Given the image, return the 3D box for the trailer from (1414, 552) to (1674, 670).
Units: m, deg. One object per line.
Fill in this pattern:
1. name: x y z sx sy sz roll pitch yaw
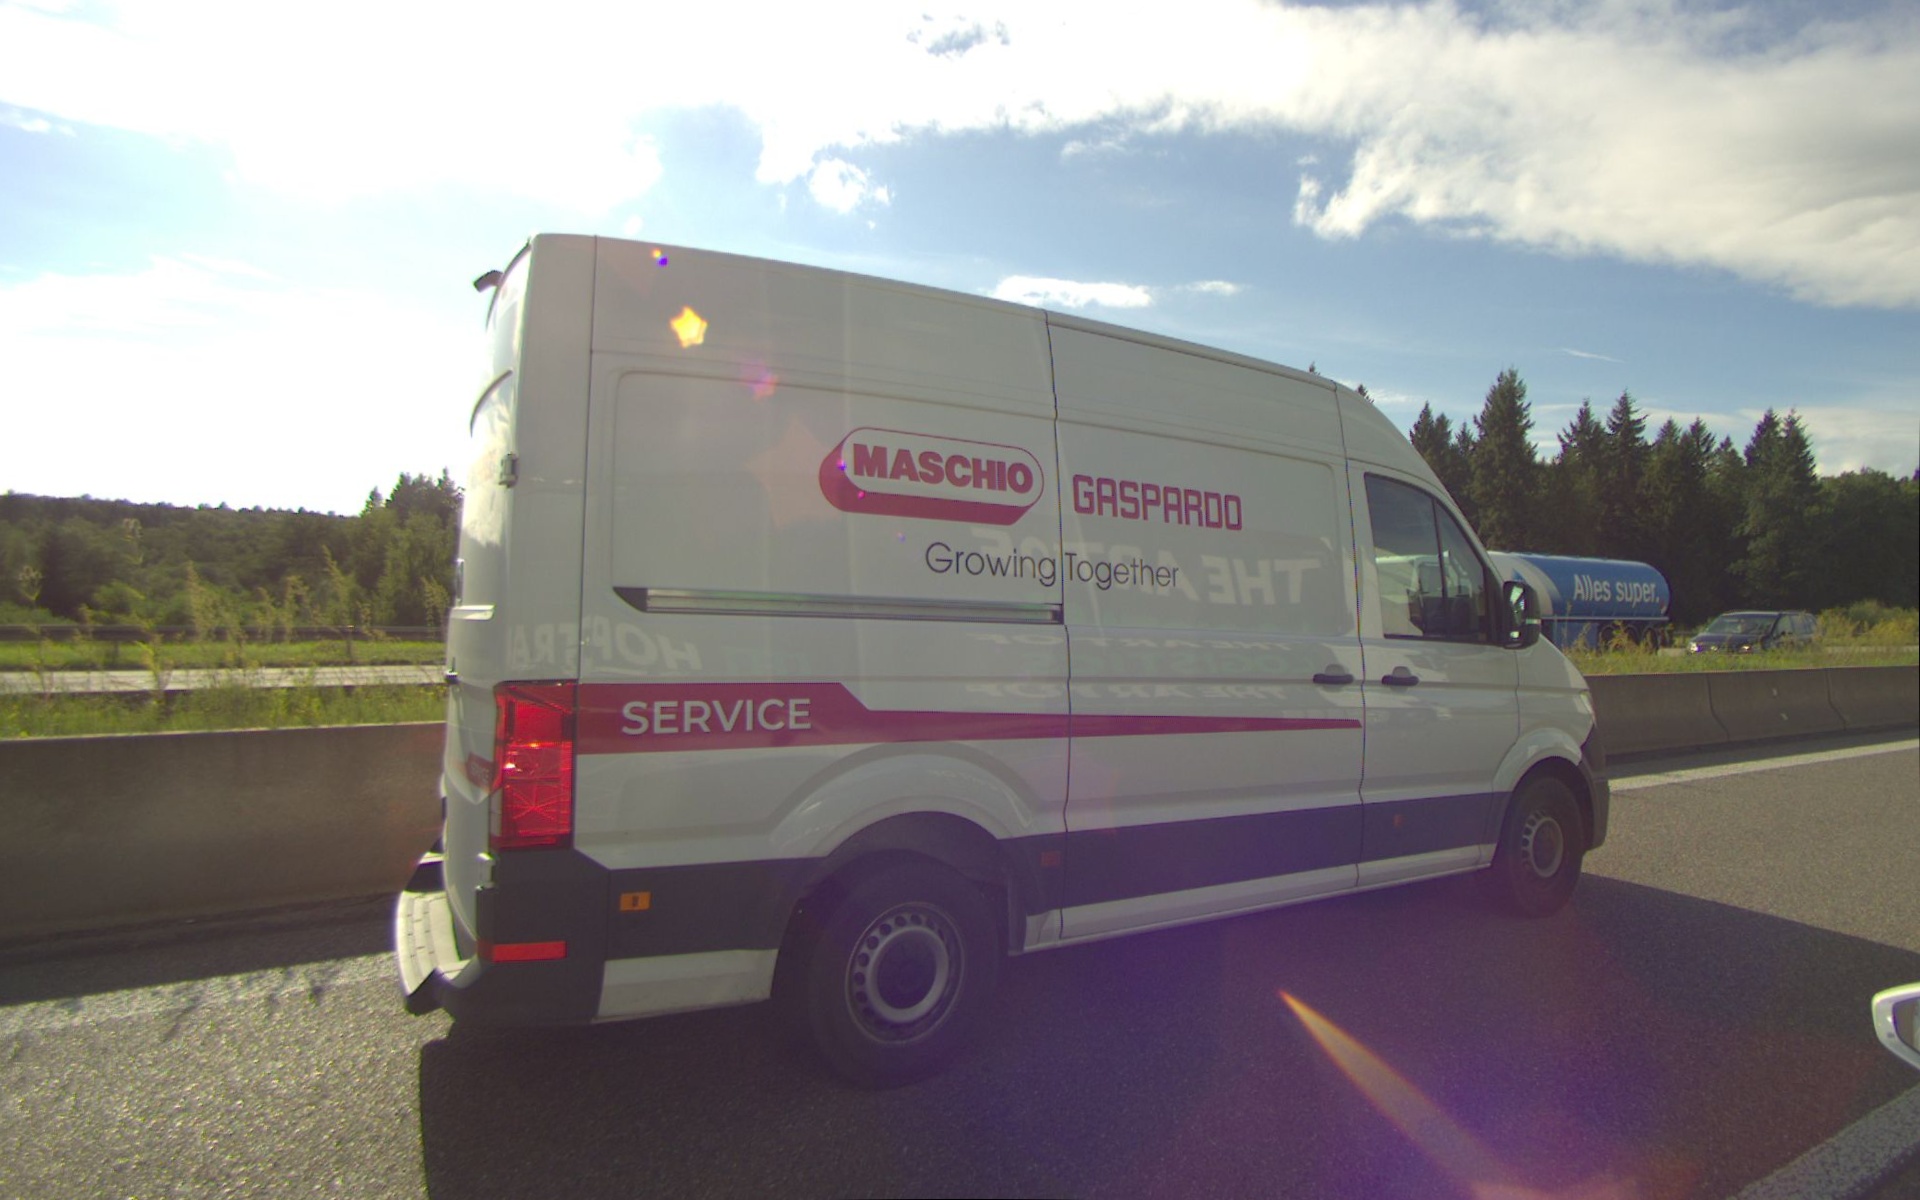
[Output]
1. trailer: 18.987 0.402 32.258 10.751 3.328 2.309 1 0 -31

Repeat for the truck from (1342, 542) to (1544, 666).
1. truck: 14.152 0.166 29.326 6.033 3.317 2.306 1 0 -30

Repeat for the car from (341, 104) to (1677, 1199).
1. car: 0.729 0.215 4.729 6.109 2.633 2.005 1 0 -30
